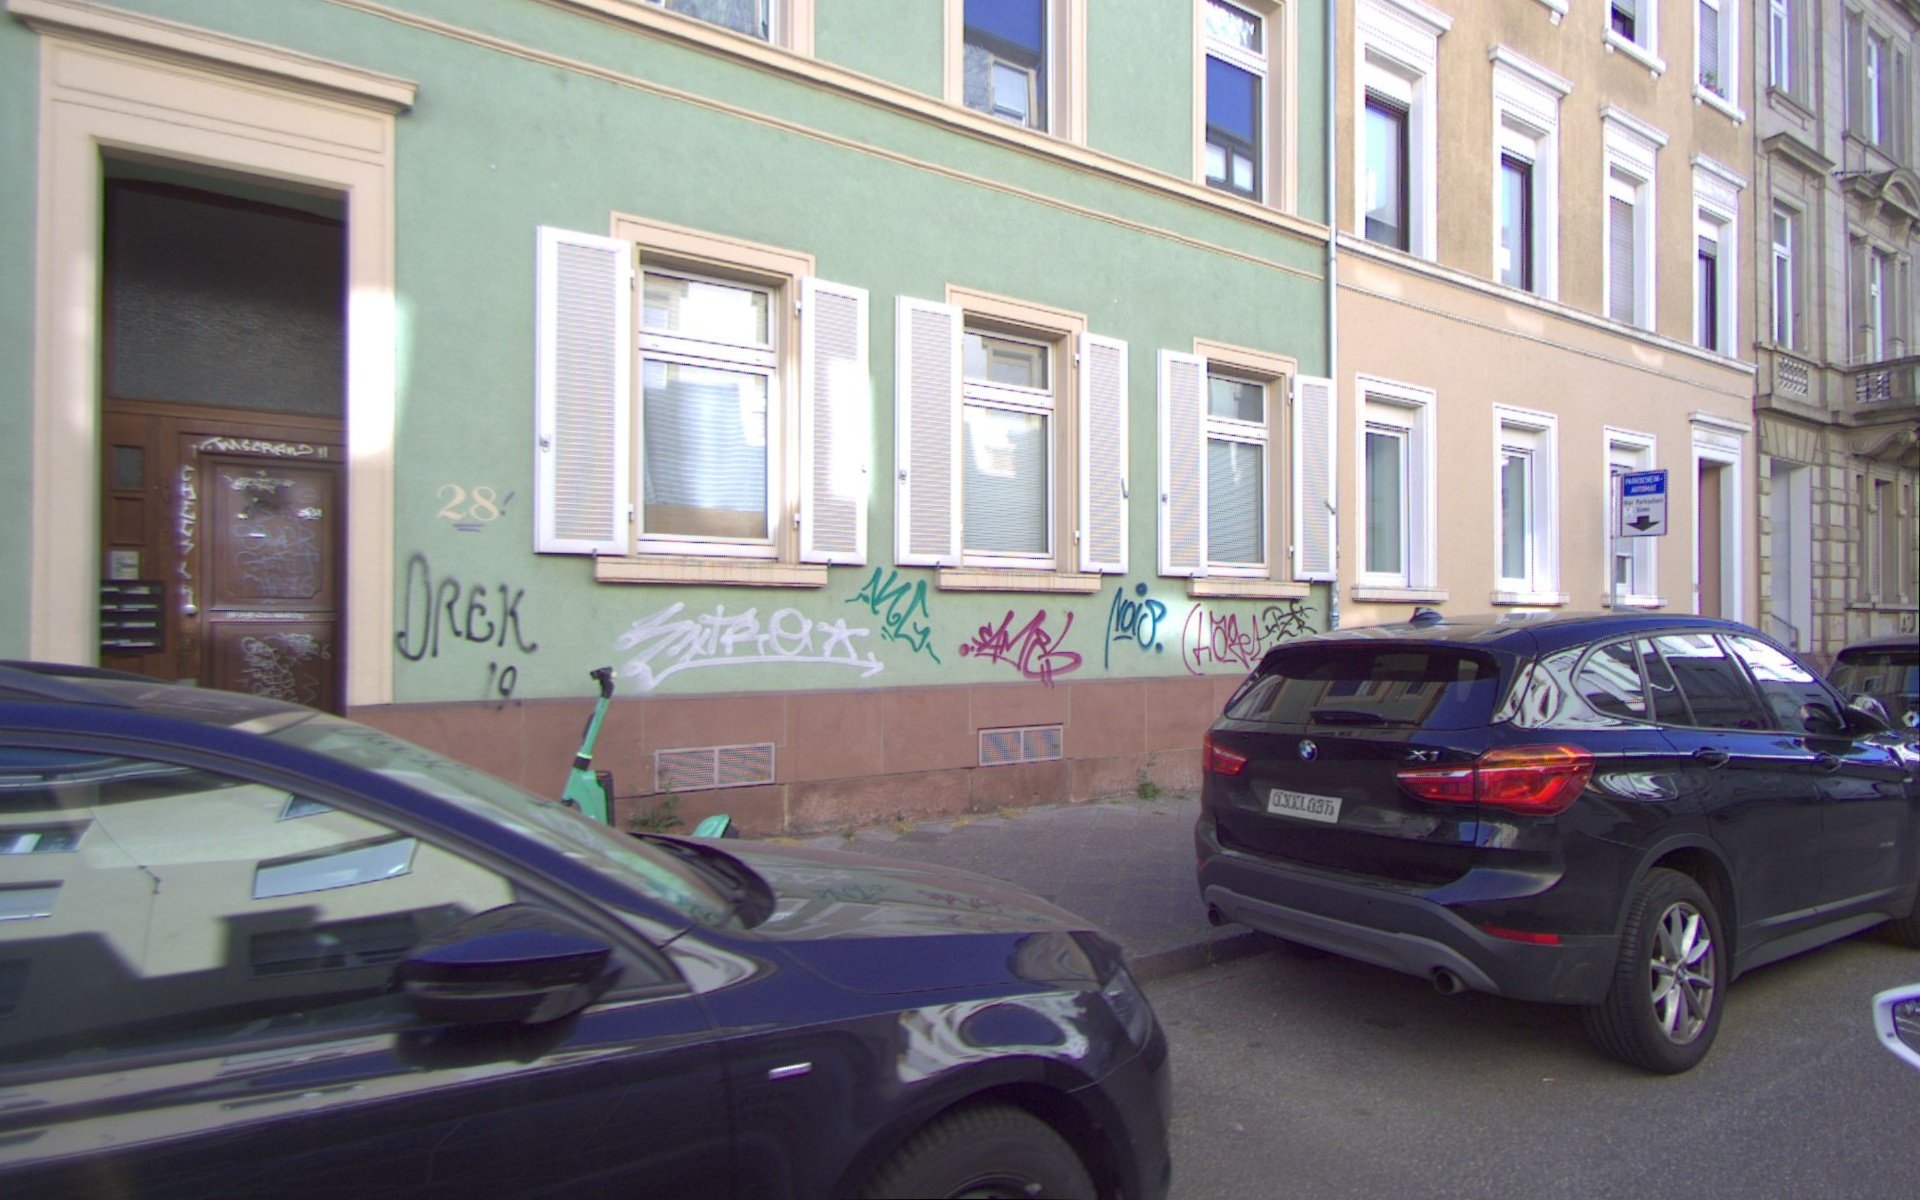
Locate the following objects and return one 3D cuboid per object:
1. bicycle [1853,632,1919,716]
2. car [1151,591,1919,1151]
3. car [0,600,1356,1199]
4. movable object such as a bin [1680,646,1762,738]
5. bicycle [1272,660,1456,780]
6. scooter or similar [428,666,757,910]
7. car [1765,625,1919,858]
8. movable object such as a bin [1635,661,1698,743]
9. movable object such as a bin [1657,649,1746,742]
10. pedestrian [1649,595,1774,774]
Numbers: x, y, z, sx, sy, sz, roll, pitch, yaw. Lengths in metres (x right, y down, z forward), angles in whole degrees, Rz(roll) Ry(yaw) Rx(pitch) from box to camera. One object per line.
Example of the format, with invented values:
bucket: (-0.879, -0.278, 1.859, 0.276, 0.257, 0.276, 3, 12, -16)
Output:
bicycle: (15.061, 1.173, 16.151, 1.845, 1.293, 0.508, 2, -2, -31)
car: (3.240, 0.854, 4.896, 4.550, 1.636, 1.736, 1, -3, -31)
car: (-1.589, 0.806, 1.684, 4.799, 1.507, 1.705, 1, -4, -33)
movable object such as a bin: (9.954, 1.180, 13.140, 0.579, 1.147, 0.715, 2, -2, -35)
bicycle: (3.794, 1.092, 9.381, 1.889, 1.042, 0.360, 2, -2, -23)
scooter or similar: (-2.027, 0.980, 5.645, 1.670, 1.197, 0.452, 2, -2, -29)
car: (8.111, 0.992, 7.911, 3.935, 1.574, 1.606, 1, -2, -33)
movable object such as a bin: (8.784, 1.251, 12.492, 0.555, 0.950, 0.469, 1, 0, -34)
movable object such as a bin: (9.444, 1.193, 12.796, 0.676, 1.103, 0.730, -1, -1, -35)
pedestrian: (7.690, 0.820, 10.284, 0.873, 1.737, 0.760, 0, 0, -32)
